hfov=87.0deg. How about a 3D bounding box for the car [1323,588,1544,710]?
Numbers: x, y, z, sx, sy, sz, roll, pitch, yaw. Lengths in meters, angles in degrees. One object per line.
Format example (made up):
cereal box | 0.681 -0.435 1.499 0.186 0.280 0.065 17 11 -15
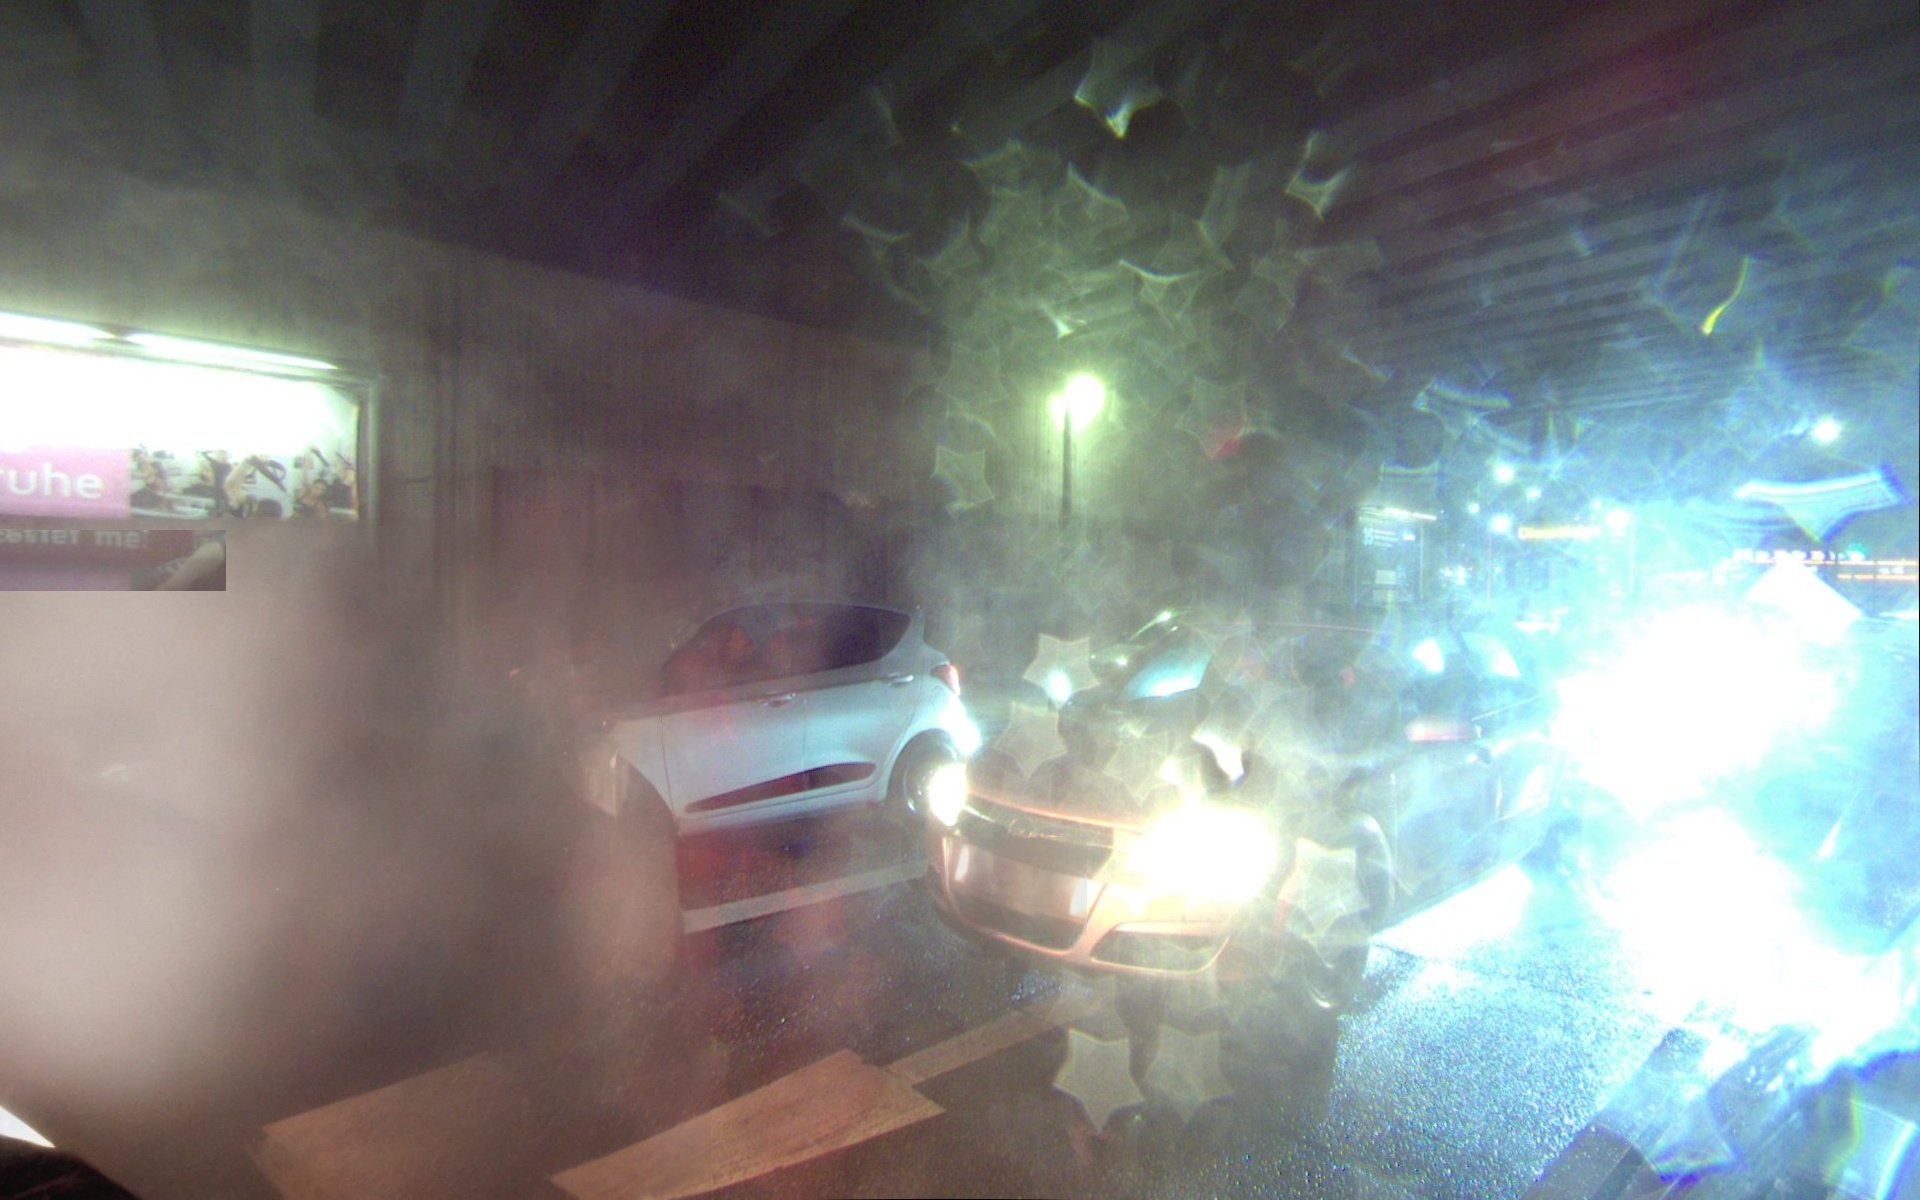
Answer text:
car | 7.173 0.608 15.143 1.721 1.505 4.096 3 3 44

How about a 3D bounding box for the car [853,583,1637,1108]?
car | 1.648 0.658 4.862 4.091 1.464 1.723 -1 1 -42

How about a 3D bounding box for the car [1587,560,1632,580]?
car | 46.370 -2.139 72.332 1.685 1.407 3.979 0 1 17

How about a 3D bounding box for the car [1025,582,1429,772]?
car | 2.925 0.585 10.401 4.705 1.505 1.723 -1 2 -42

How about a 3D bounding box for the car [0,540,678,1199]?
car | -2.673 0.640 0.997 4.308 1.464 1.723 -1 3 -42

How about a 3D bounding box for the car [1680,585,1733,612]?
car | 45.953 -0.112 62.371 1.680 1.481 3.943 2 2 23

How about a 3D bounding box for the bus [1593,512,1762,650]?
bus | 20.503 -0.547 28.628 2.733 3.278 9.551 1 1 43

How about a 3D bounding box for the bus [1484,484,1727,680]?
bus | 14.050 -0.396 21.562 2.733 3.318 9.551 1 1 43

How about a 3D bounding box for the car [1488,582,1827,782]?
car | 6.782 0.626 9.668 4.091 1.506 1.722 -1 -2 -42

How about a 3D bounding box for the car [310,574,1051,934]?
car | -1.470 0.611 6.257 4.091 1.464 1.723 -1 3 -42
